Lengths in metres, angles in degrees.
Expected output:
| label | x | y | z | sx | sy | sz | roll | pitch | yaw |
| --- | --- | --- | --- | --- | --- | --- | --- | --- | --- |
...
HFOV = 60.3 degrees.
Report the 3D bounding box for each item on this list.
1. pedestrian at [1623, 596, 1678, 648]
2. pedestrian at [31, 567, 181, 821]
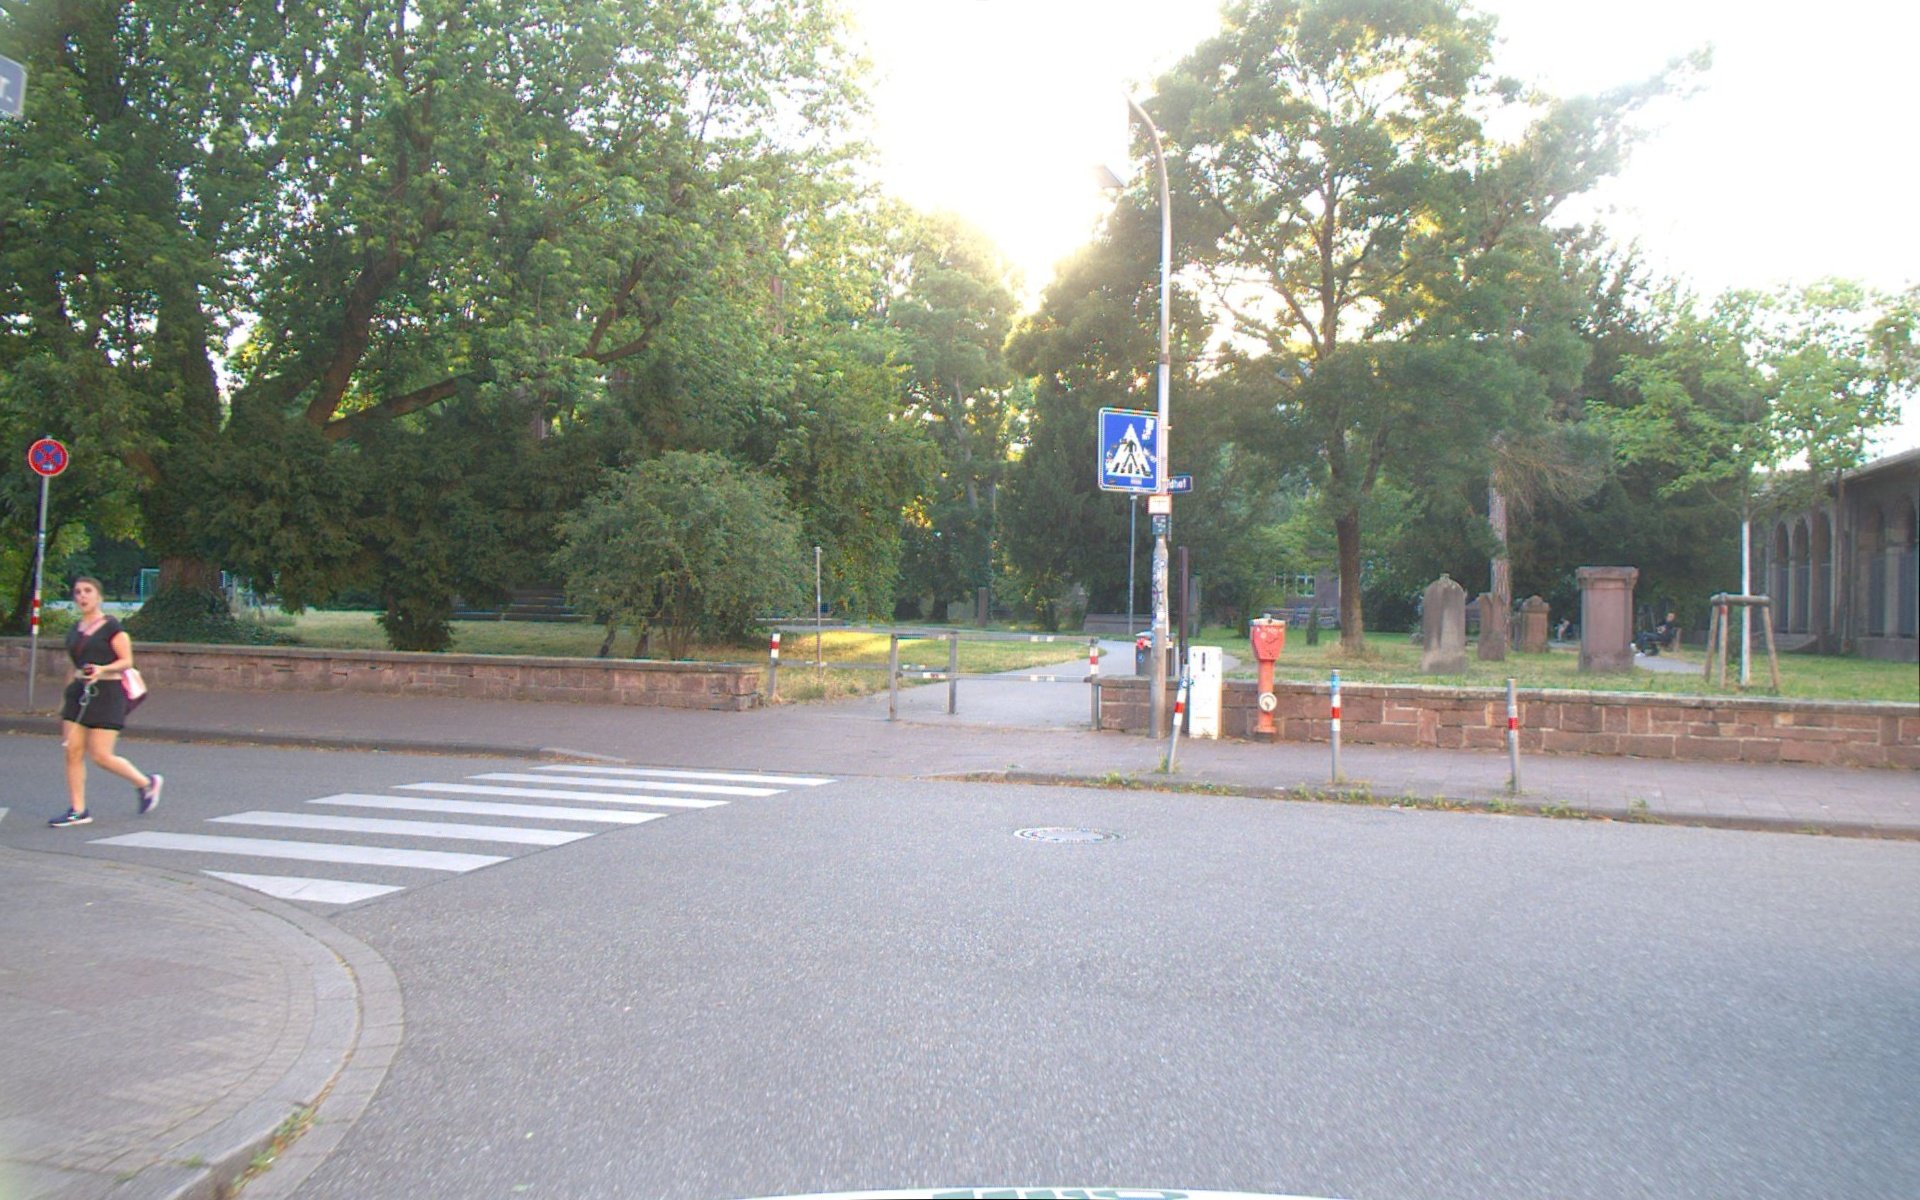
| label | x | y | z | sx | sy | sz | roll | pitch | yaw |
| --- | --- | --- | --- | --- | --- | --- | --- | --- | --- |
| pedestrian | 19.931 | 0.629 | 47.768 | 1.300 | 1.469 | 1.047 | 1 | 0 | 16 |
| pedestrian | -5.884 | 0.626 | 11.427 | 0.633 | 1.677 | 0.673 | 3 | 1 | -4 |
